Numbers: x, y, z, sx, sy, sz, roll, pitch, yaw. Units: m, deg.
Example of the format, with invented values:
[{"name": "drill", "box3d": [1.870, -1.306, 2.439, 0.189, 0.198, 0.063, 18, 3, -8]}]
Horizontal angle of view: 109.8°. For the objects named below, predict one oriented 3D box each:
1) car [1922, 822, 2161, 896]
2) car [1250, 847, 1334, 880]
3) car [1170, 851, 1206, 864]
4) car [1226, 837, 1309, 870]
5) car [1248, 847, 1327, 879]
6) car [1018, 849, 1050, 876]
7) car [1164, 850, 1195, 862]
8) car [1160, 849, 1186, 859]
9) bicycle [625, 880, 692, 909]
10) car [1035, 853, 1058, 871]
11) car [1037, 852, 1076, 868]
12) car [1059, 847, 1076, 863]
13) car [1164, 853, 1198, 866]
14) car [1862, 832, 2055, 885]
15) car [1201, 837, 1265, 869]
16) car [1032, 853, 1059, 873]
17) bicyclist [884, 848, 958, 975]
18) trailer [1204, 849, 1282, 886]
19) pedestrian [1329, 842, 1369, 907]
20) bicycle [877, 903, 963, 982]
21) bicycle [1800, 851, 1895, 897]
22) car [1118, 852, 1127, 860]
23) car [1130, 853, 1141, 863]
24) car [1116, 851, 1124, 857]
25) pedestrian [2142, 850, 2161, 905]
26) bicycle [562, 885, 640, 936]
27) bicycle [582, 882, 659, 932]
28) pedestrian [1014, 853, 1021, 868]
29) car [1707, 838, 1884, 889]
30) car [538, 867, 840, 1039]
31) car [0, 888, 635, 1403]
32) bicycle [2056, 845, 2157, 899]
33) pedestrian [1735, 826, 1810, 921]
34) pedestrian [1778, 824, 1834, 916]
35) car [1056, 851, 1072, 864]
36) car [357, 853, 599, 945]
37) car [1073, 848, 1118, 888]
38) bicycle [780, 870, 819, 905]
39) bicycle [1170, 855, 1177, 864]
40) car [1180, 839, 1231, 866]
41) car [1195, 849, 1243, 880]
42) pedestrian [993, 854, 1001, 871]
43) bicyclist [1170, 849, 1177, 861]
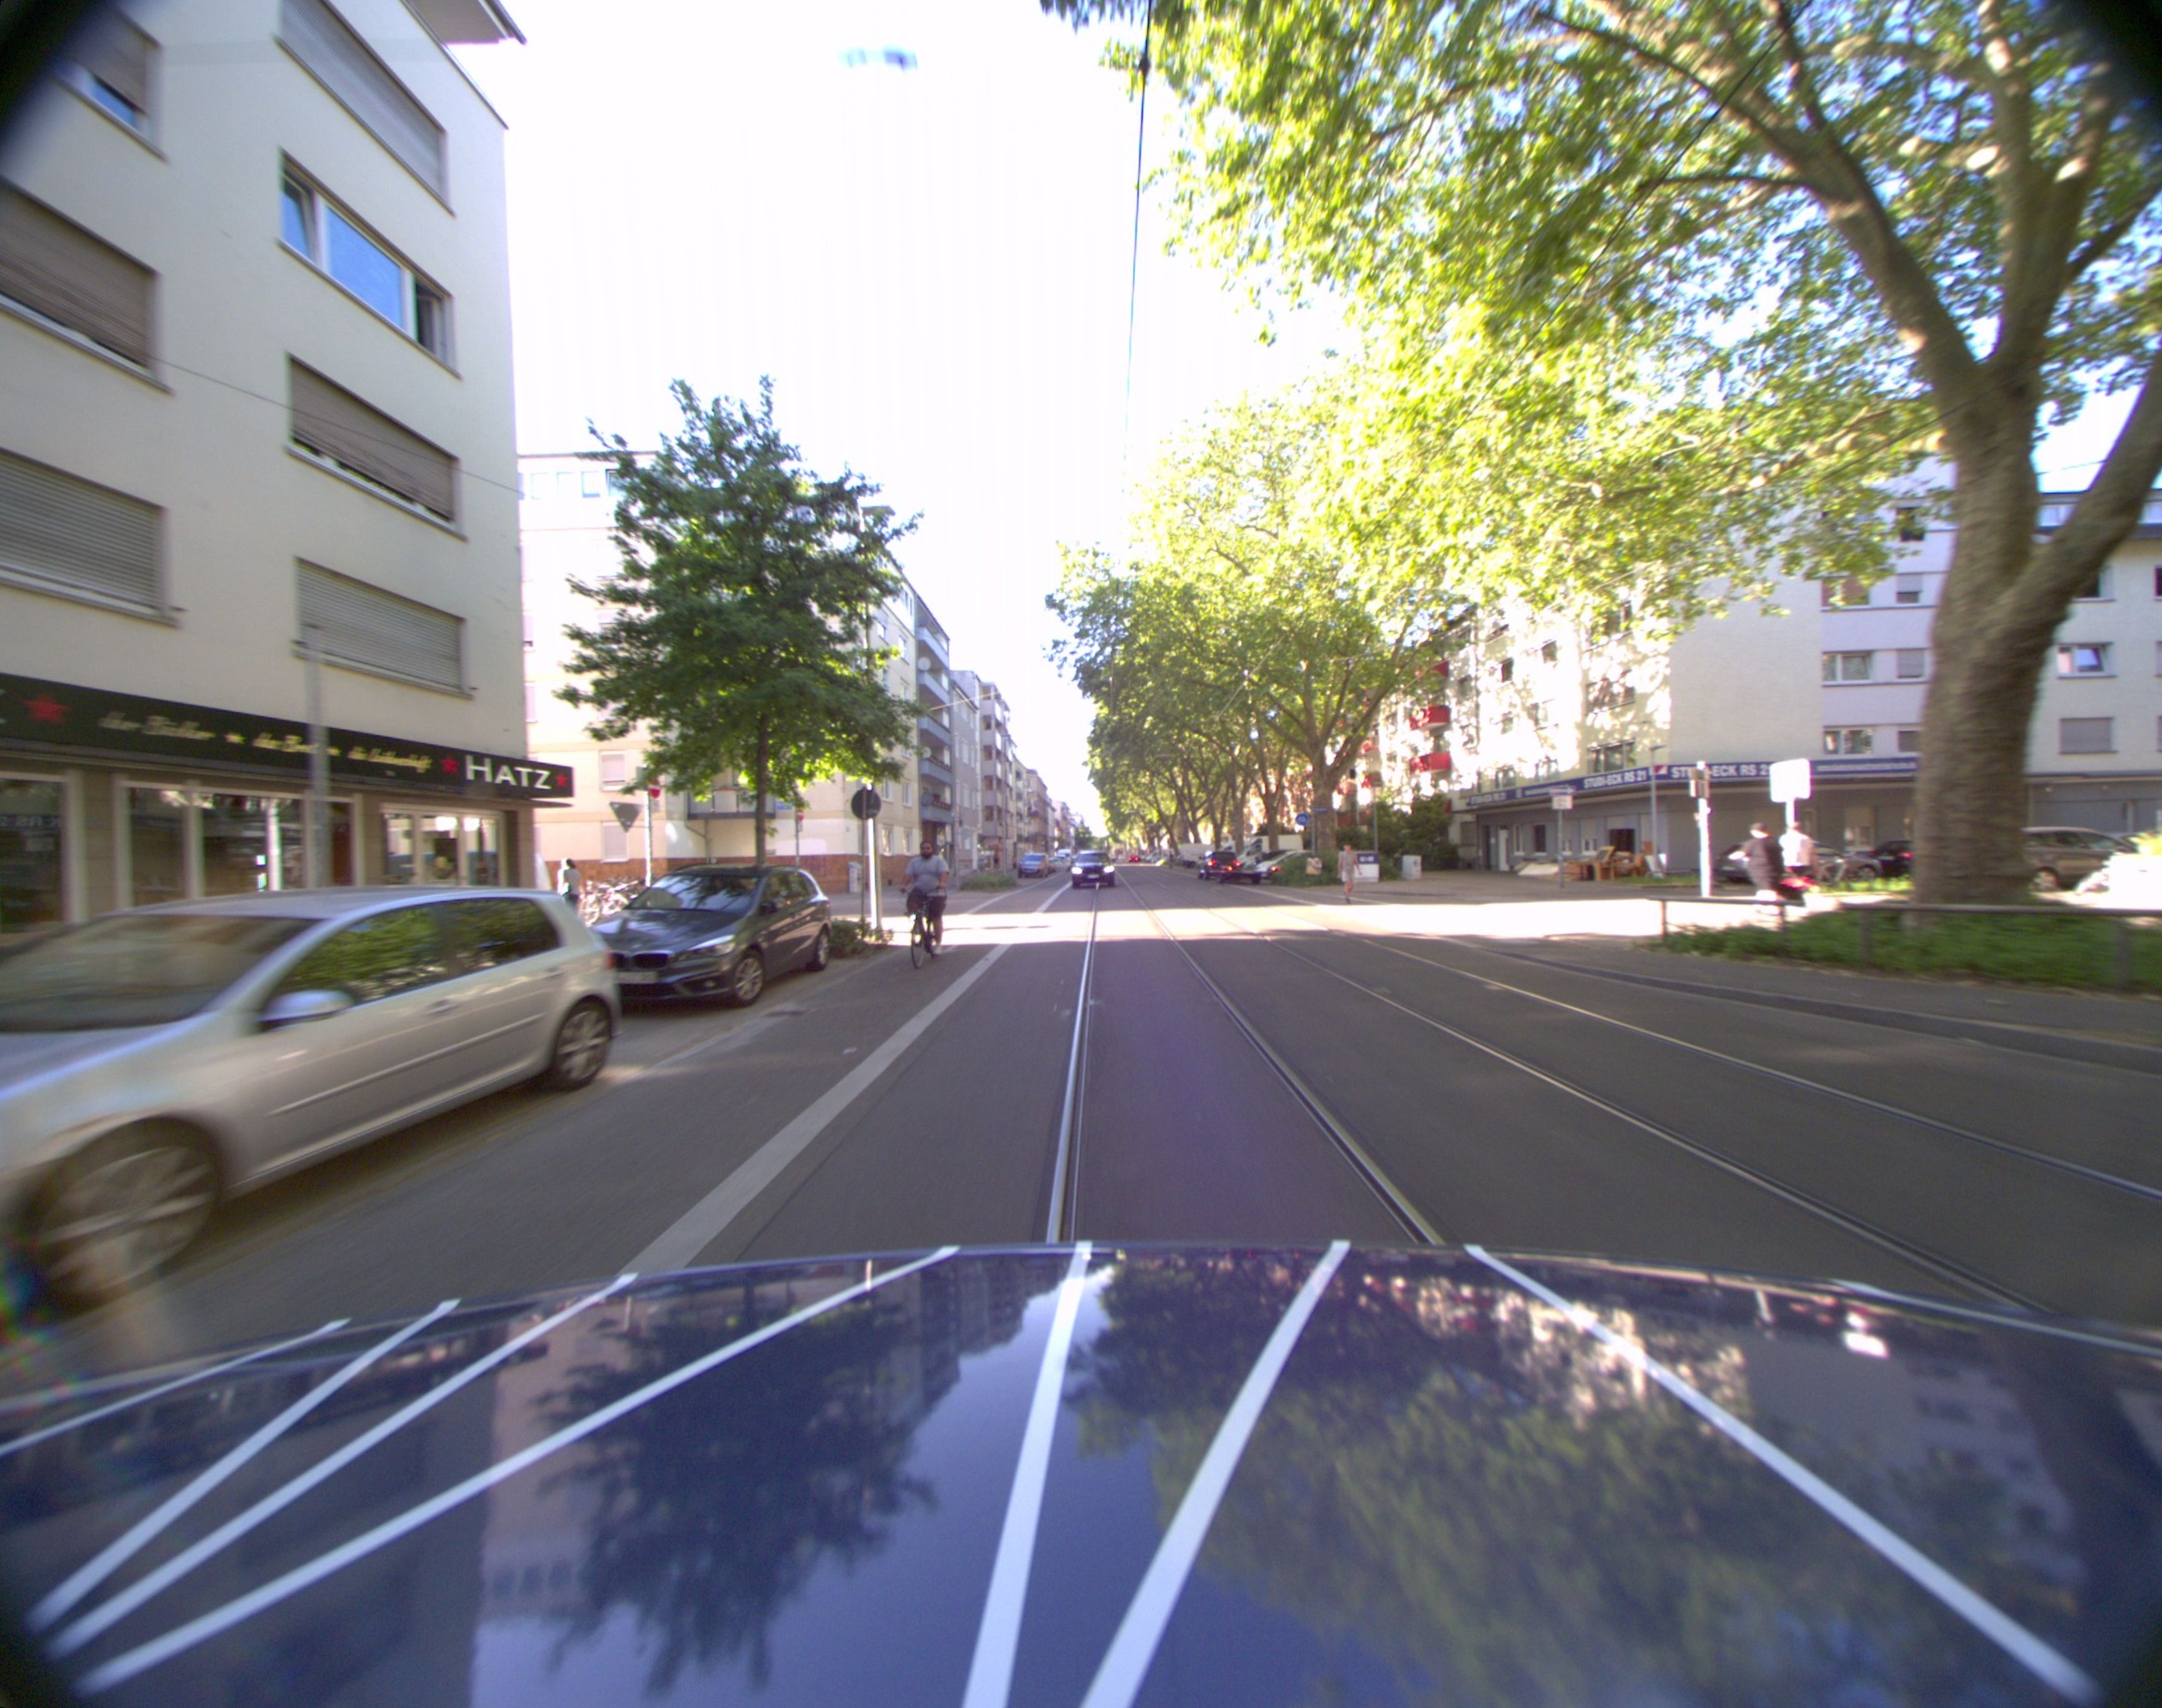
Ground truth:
[{"name": "car", "box3d": [24.331, 0.166, 19.198, 4.011, 1.627, 1.801, -2, -3, 1]}, {"name": "car", "box3d": [11.473, 0.492, 41.510, 3.997, 1.600, 1.909, -2, 1, 0]}, {"name": "car", "box3d": [12.657, 0.407, 90.079, 3.997, 1.458, 2.000, -2, 1, 0]}, {"name": "car", "box3d": [12.866, -0.050, 52.534, 5.134, 1.984, 1.999, -2, 1, -3]}, {"name": "car", "box3d": [11.957, 0.504, 44.207, 3.997, 1.635, 2.000, -2, 1, 0]}, {"name": "car", "box3d": [-3.598, 0.641, 58.690, 1.958, 1.914, 4.000, -2, 1, 2]}, {"name": "car", "box3d": [13.750, 0.314, 106.583, 3.997, 1.458, 2.000, -2, 1, 0]}, {"name": "car", "box3d": [15.116, -0.009, 124.722, 3.997, 1.458, 2.000, -2, 1, 0]}, {"name": "bicycle", "box3d": [-15.210, 1.442, 27.350, 2.109, 0.986, 0.607, -1, 1, 5]}, {"name": "car", "box3d": [-3.337, 0.755, 74.029, 1.867, 1.499, 4.000, -2, 1, 2]}, {"name": "car", "box3d": [-2.530, 0.600, 79.948, 3.997, 1.458, 2.000, -2, 1, 0]}, {"name": "car", "box3d": [-1.909, 0.130, 108.900, 1.990, 2.085, 4.470, -2, 1, 2]}, {"name": "car", "box3d": [12.719, 0.719, 96.404, 3.997, 1.458, 2.000, -2, 1, 0]}, {"name": "car", "box3d": [28.951, 0.125, 25.182, 4.152, 1.597, 1.896, -1, 1, 1]}, {"name": "car", "box3d": [12.213, -0.086, 61.251, 4.661, 2.293, 2.000, -2, 1, 2]}, {"name": "car", "box3d": [-3.158, 0.783, 67.994, 1.998, 1.674, 4.000, -2, 1, 2]}, {"name": "bicyclist", "box3d": [-2.413, 0.835, 11.601, 0.769, 1.821, 1.099, -3, 1, 2]}, {"name": "trailer", "box3d": [7.913, 0.584, 37.980, 2.452, 1.622, 6.583, 1, 1, 0]}, {"name": "pedestrian", "box3d": [7.615, 0.566, 21.632, 0.700, 1.781, 0.801, -3, 1, -11]}, {"name": "bicycle", "box3d": [-2.390, 1.300, 11.549, 0.790, 0.932, 1.939, -2, 1, 2]}, {"name": "bicycle", "box3d": [19.276, 0.496, 19.112, 1.867, 1.056, 0.656, -2, 1, -6]}, {"name": "car", "box3d": [10.025, 0.481, 185.627, 1.998, 1.723, 4.399, -3, 1, 2]}, {"name": "car", "box3d": [10.509, 0.777, 147.218, 1.998, 1.723, 4.399, -3, 1, 2]}, {"name": "car", "box3d": [11.082, 0.015, 214.384, 1.998, 1.723, 4.399, -3, 1, 2]}, {"name": "pedestrian", "box3d": [21.104, 0.456, 14.745, 0.544, 1.034, 0.545, -3, 1, -32]}, {"name": "bicycle", "box3d": [-11.921, 1.393, 18.849, 2.069, 1.200, 0.482, -2, 1, 23]}, {"name": "bicycle", "box3d": [-11.720, 1.342, 19.313, 2.069, 1.200, 0.482, -2, 1, 23]}, {"name": "pedestrian", "box3d": [-7.274, 0.759, 86.914, 0.697, 1.685, 0.678, -2, 1, 1]}, {"name": "car", "box3d": [23.715, 0.296, 25.334, 4.152, 1.469, 1.834, -2, 1, 1]}, {"name": "car", "box3d": [-4.511, 1.014, 9.579, 1.724, 1.562, 4.258, 1, 1, -2]}, {"name": "car", "box3d": [-4.436, 1.040, 3.903, 1.791, 1.528, 4.128, 1, 0, 1]}, {"name": "bicycle", "box3d": [22.253, 0.386, 16.492, 1.869, 1.055, 0.656, -3, -2, -17]}, {"name": "pedestrian", "box3d": [13.290, 0.354, 14.613, 0.740, 1.747, 0.734, -3, 1, -9]}, {"name": "pedestrian", "box3d": [14.419, 0.305, 15.133, 0.668, 1.770, 0.725, -1, 2, 33]}, {"name": "car", "box3d": [-2.192, 0.468, 99.460, 1.867, 1.499, 4.000, -2, 1, 2]}, {"name": "car", "box3d": [-13.478, 0.963, 17.154, 3.996, 1.787, 1.786, -2, 1, 2]}, {"name": "car", "box3d": [0.710, 0.613, 35.954, 1.998, 1.723, 4.399, 1, 1, 2]}, {"name": "bicycle", "box3d": [-10.257, 1.209, 27.740, 0.616, 1.145, 1.996, -2, 1, 1]}, {"name": "bicycle", "box3d": [9.050, 0.538, 74.214, 0.533, 0.901, 1.557, -2, 1, 2]}, {"name": "car", "box3d": [12.414, -0.171, 75.866, 4.661, 2.518, 2.000, -2, 1, 2]}, {"name": "car", "box3d": [7.834, 0.557, 43.384, 1.928, 1.674, 4.181, 1, 1, 0]}, {"name": "pedestrian", "box3d": [-7.741, 0.787, 70.374, 0.590, 1.493, 0.600, -2, 1, 1]}, {"name": "bicyclist", "box3d": [9.036, 0.100, 74.253, 0.533, 1.206, 0.666, -2, 1, 2]}]
